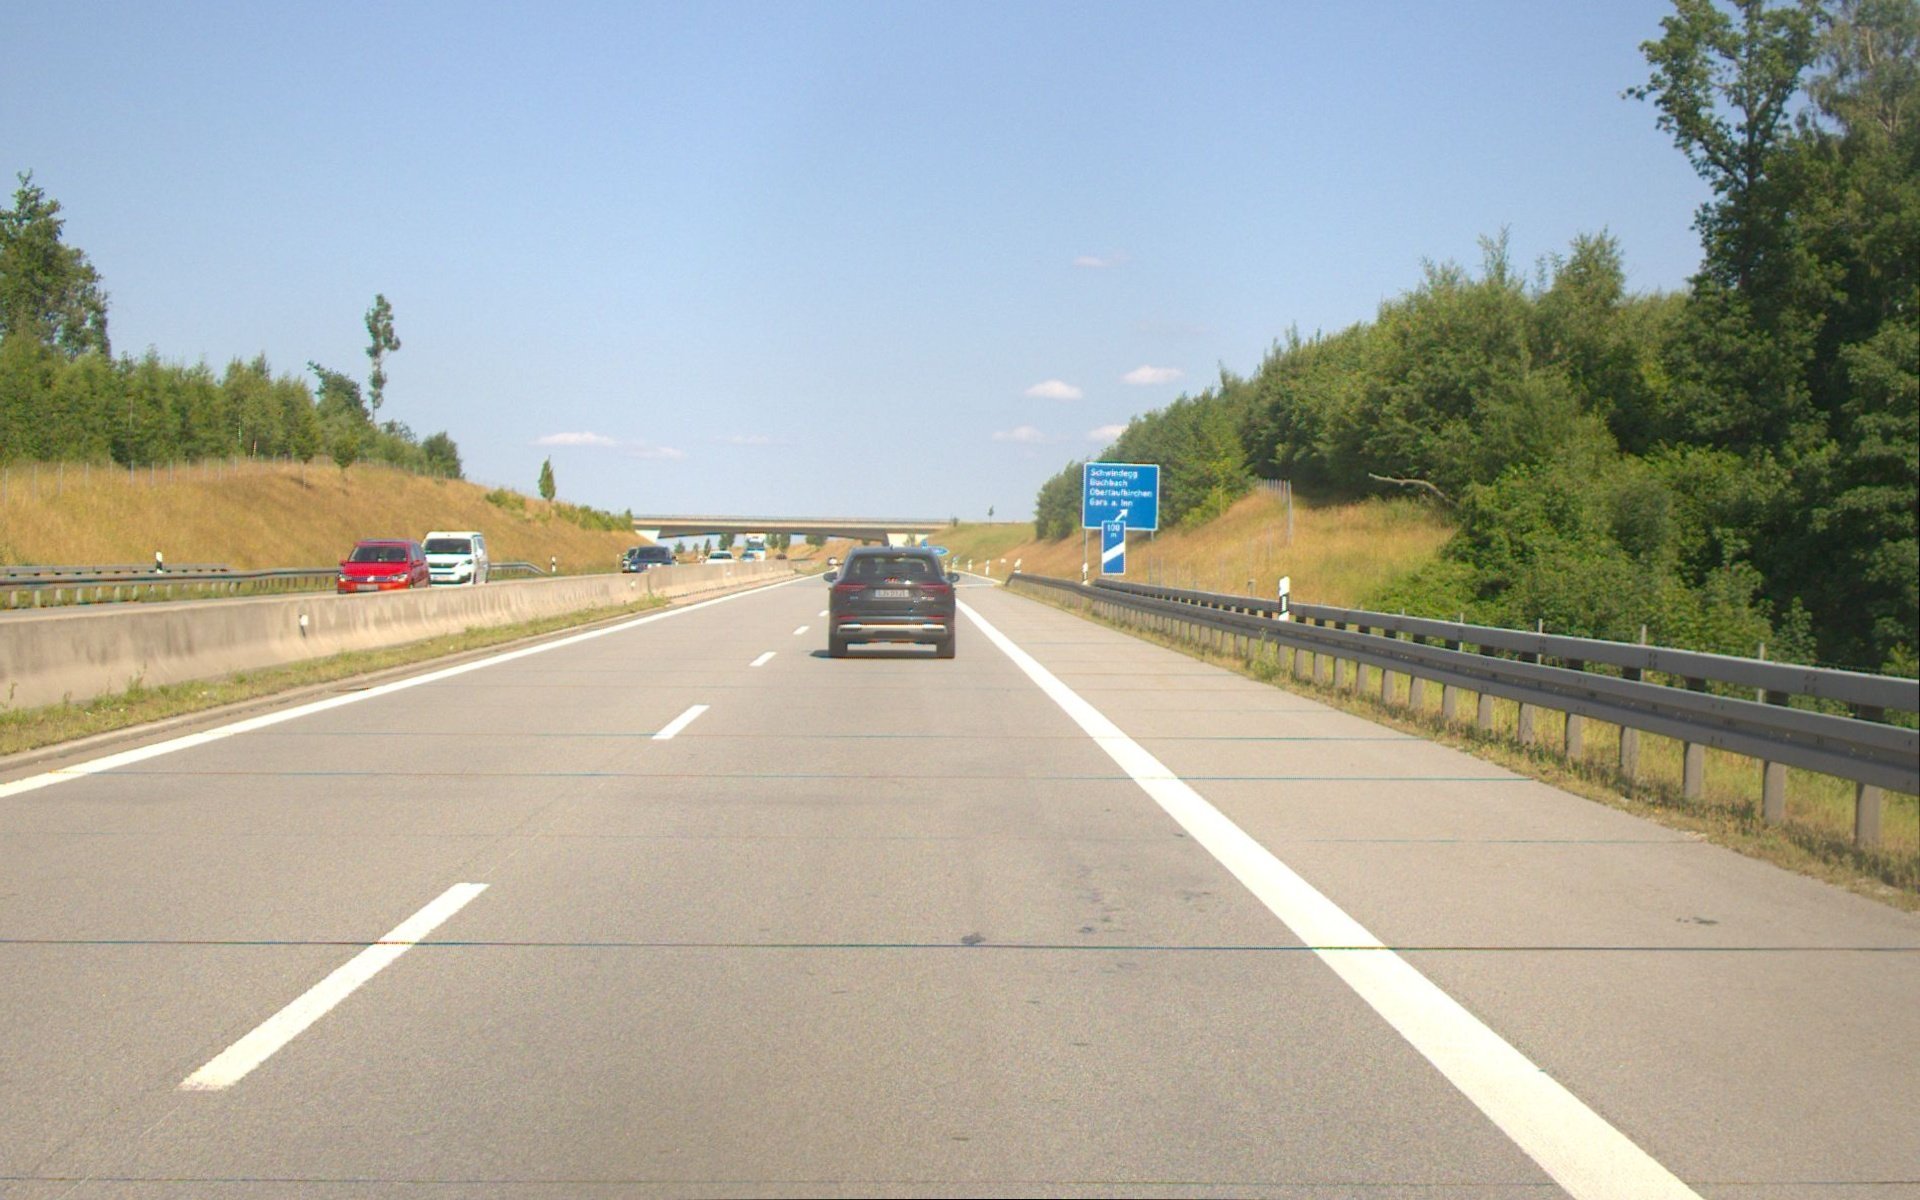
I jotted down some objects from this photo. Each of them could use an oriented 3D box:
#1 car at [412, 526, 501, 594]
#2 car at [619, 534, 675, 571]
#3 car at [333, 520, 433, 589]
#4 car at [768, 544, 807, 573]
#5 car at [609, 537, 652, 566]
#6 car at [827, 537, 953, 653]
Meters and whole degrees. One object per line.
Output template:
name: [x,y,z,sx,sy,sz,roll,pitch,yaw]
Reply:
car: [-16.160,-1.309,110.614,1.993,2.076,6.228,1,1,0]
car: [-13.488,-2.054,148.373,1.993,1.576,4.649,1,1,0]
car: [-14.258,-1.132,85.202,1.667,1.638,4.889,1,1,0]
car: [-9.720,-2.360,194.159,1.993,1.576,4.649,1,1,0]
car: [-18.502,-2.710,193.045,1.993,1.576,4.649,1,1,0]
car: [-0.995,-0.113,50.386,1.722,1.582,5.222,1,1,0]
